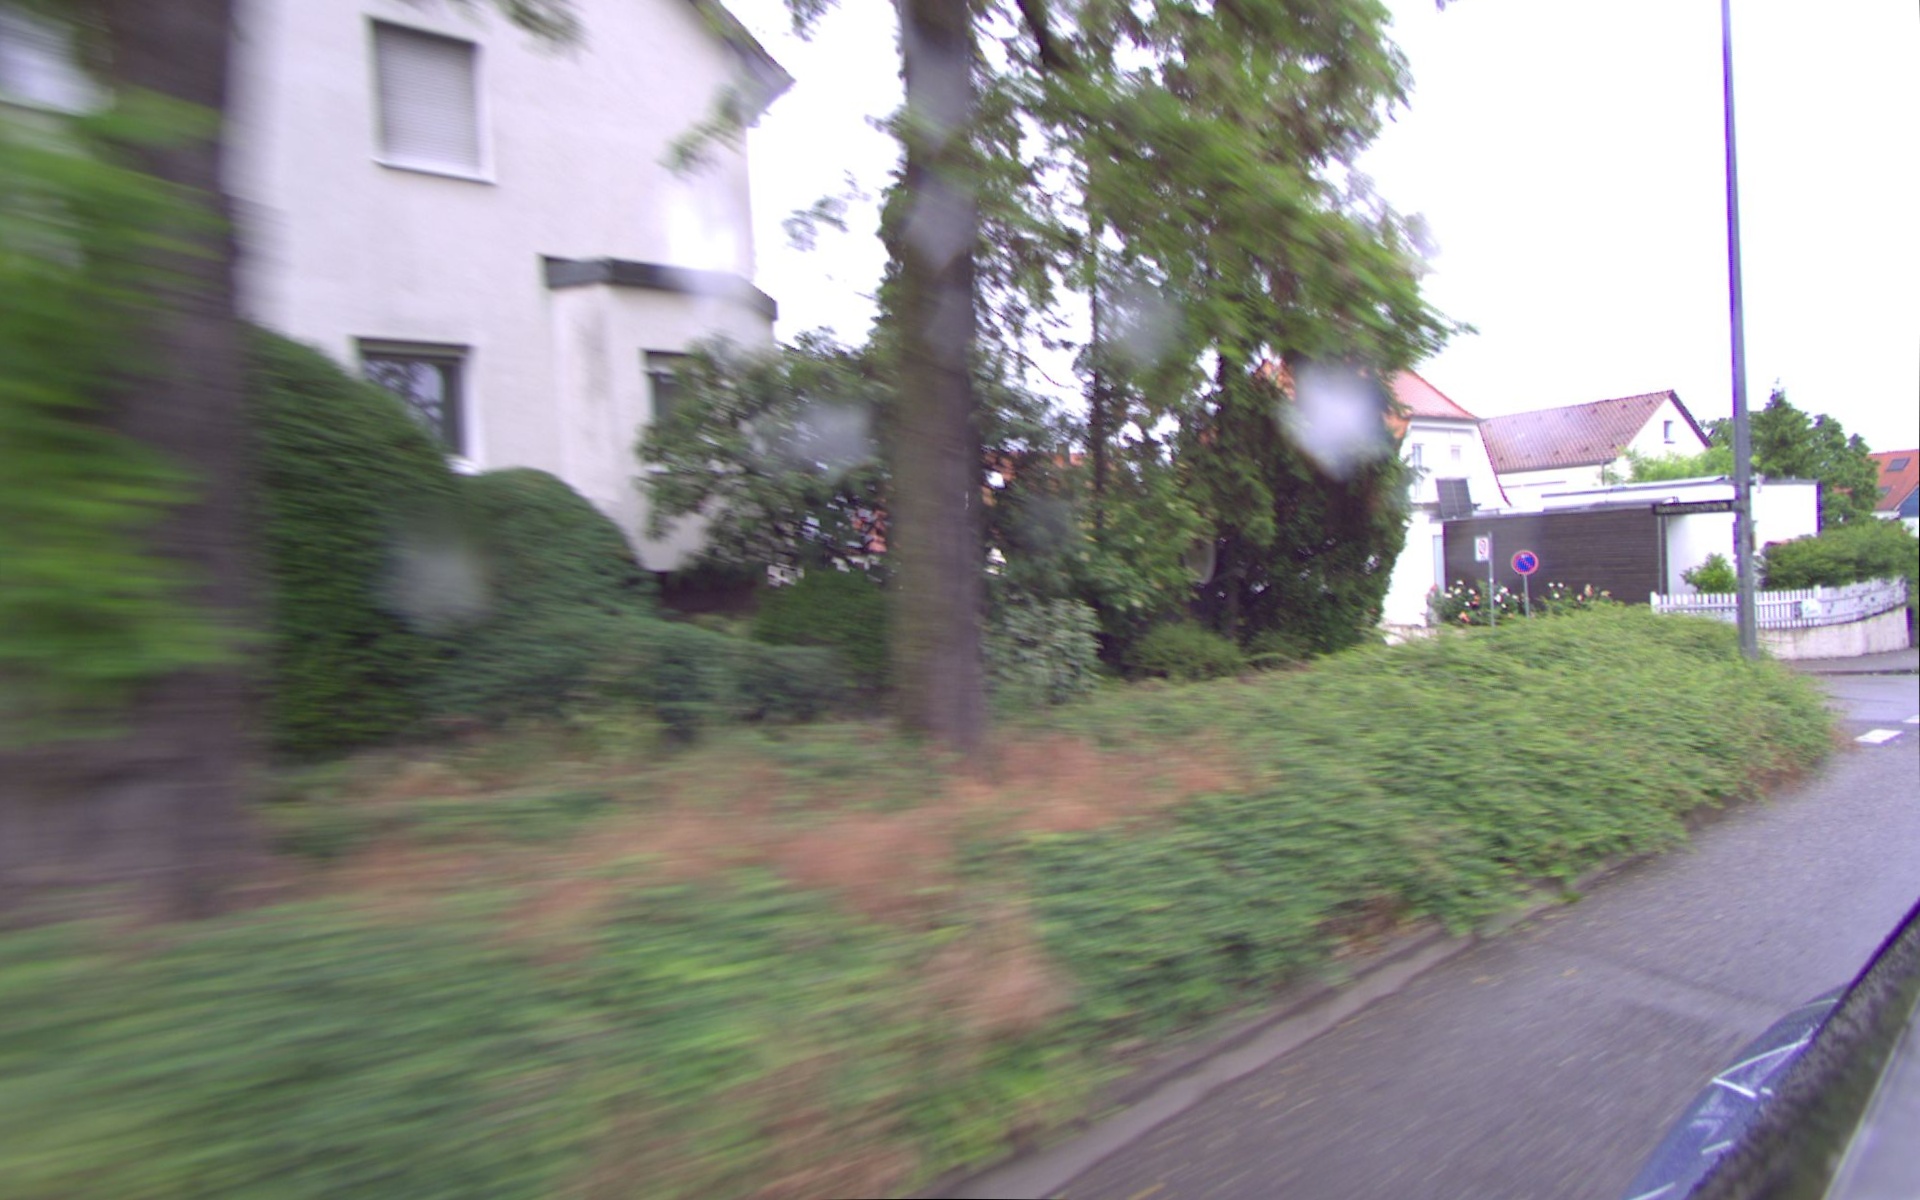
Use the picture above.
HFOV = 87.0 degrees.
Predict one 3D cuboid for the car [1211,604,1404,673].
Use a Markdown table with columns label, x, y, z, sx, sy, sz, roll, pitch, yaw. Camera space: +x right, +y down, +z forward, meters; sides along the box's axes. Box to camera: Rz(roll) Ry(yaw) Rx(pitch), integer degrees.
| label | x | y | z | sx | sy | sz | roll | pitch | yaw |
| --- | --- | --- | --- | --- | --- | --- | --- | --- | --- |
| car | 8.482 | 0.898 | 24.985 | 1.830 | 1.520 | 4.176 | 0 | -1 | -38 |
